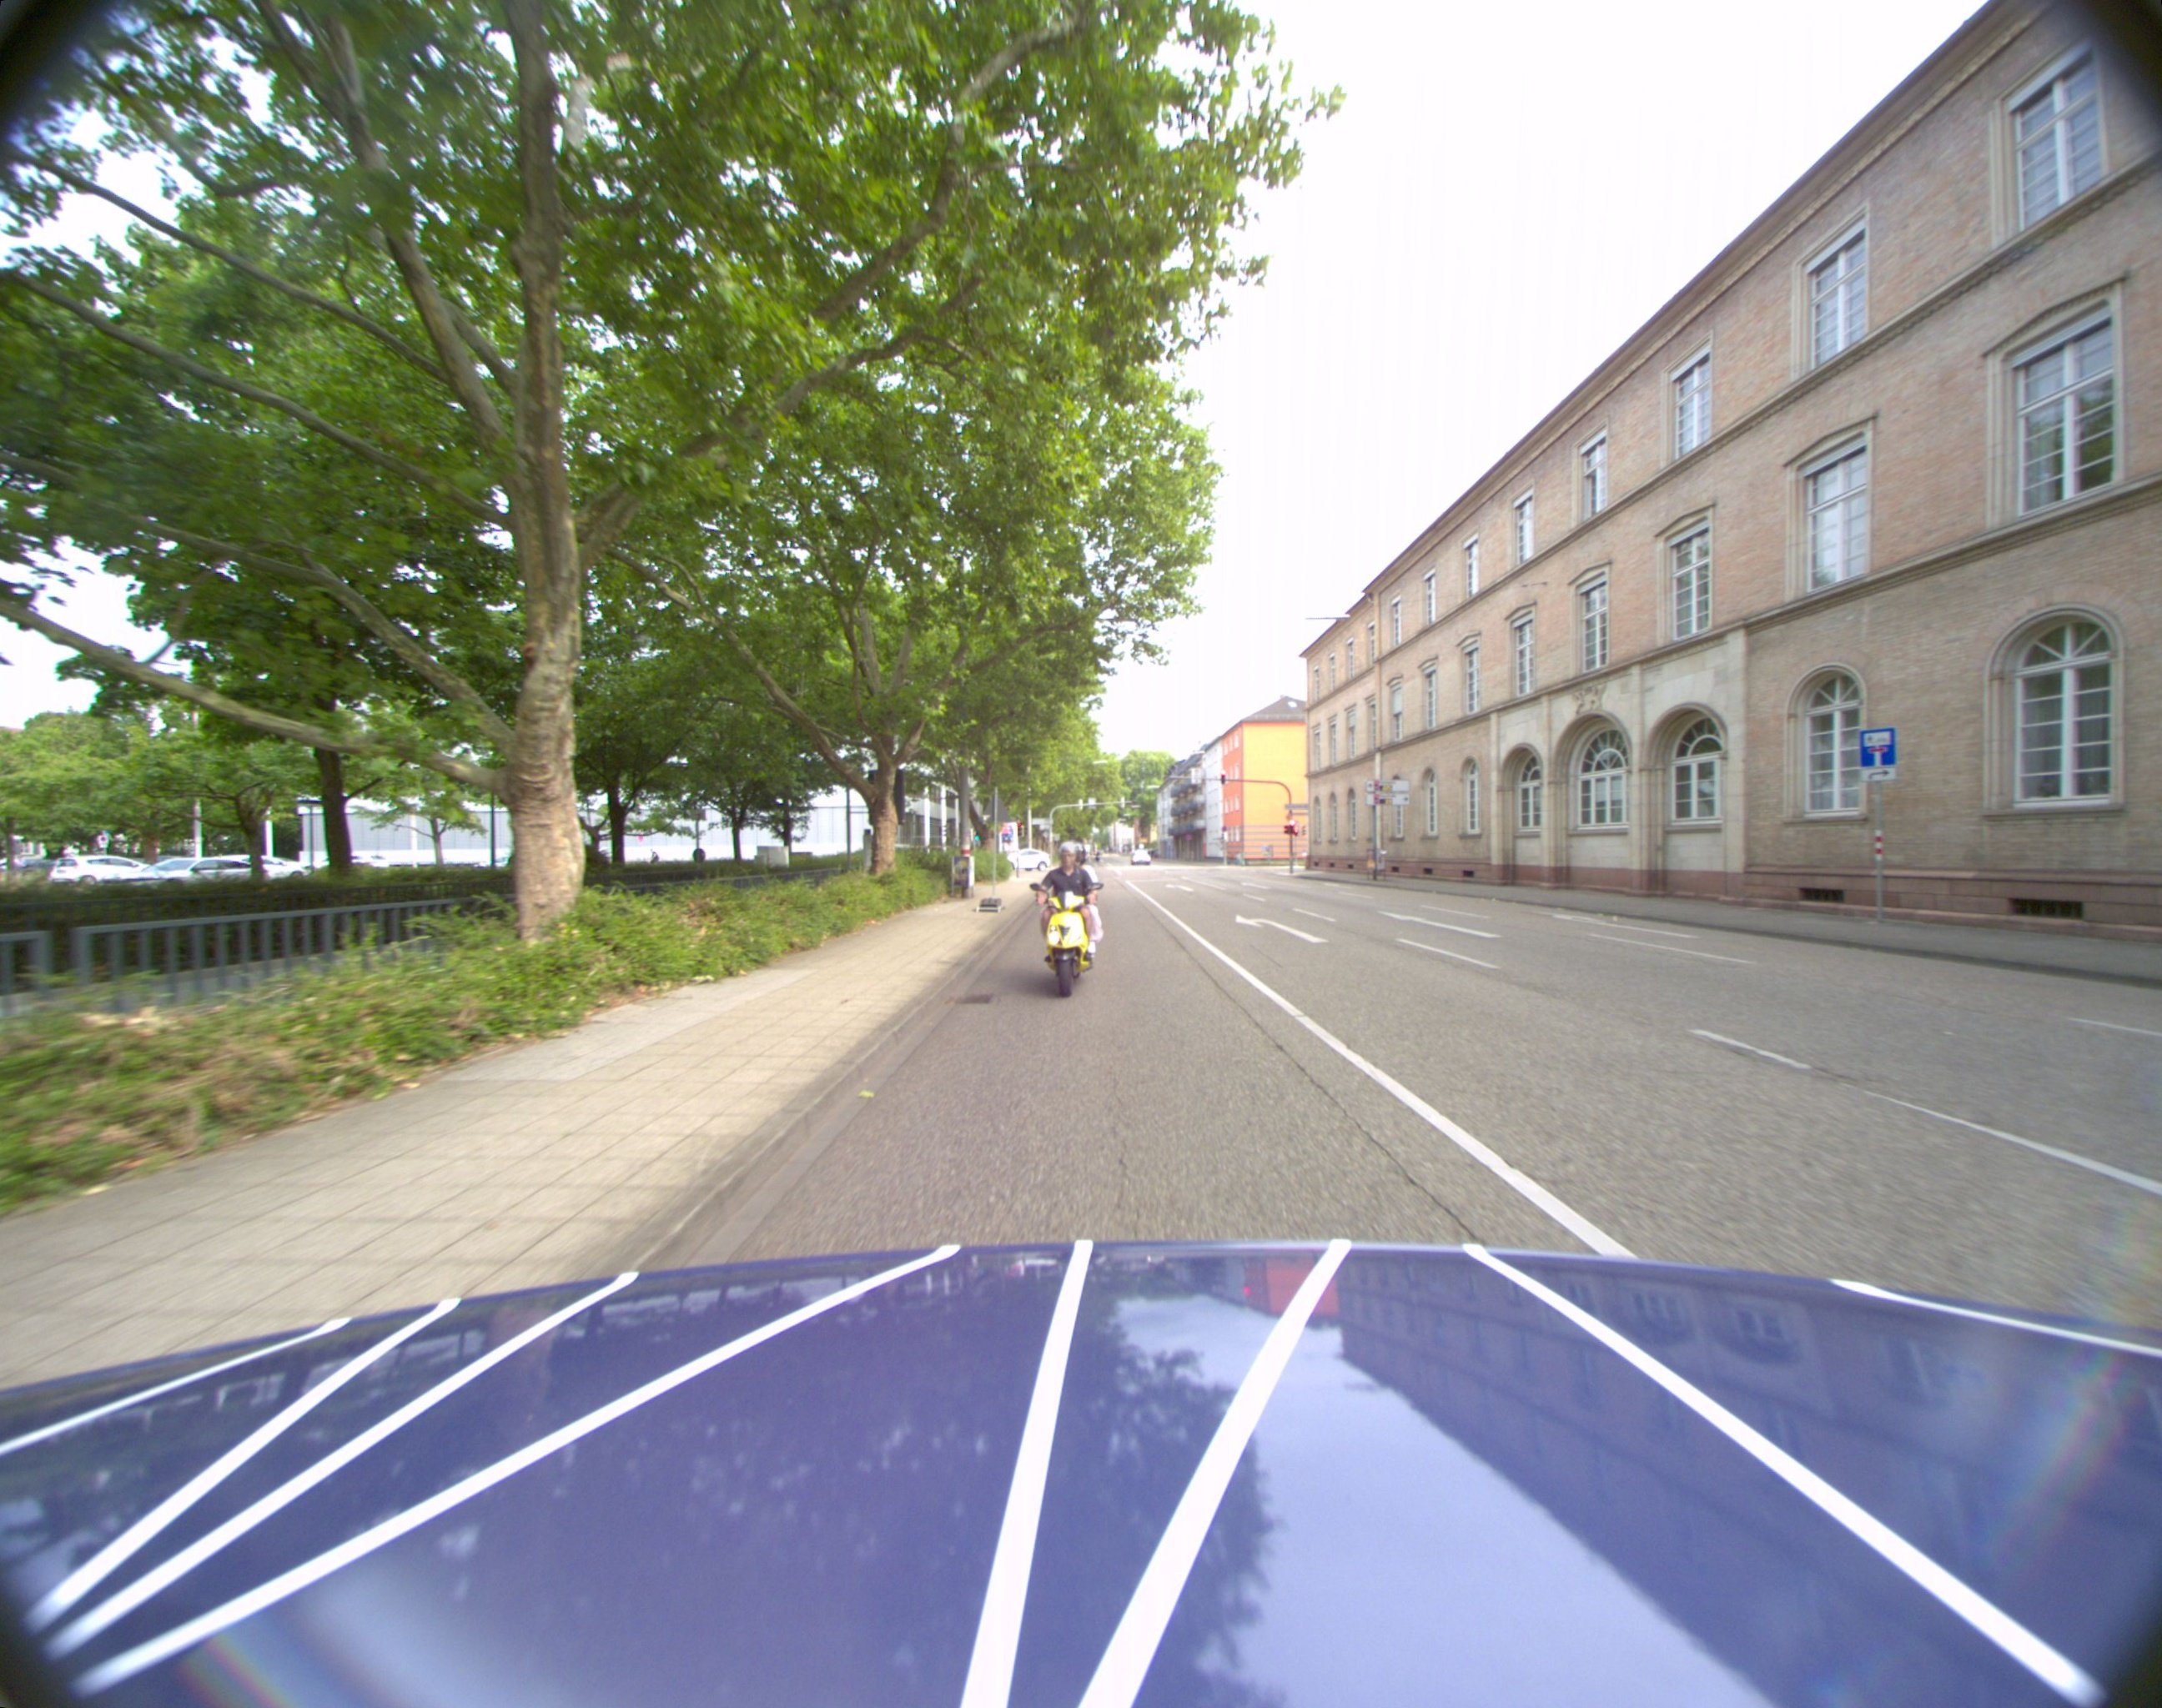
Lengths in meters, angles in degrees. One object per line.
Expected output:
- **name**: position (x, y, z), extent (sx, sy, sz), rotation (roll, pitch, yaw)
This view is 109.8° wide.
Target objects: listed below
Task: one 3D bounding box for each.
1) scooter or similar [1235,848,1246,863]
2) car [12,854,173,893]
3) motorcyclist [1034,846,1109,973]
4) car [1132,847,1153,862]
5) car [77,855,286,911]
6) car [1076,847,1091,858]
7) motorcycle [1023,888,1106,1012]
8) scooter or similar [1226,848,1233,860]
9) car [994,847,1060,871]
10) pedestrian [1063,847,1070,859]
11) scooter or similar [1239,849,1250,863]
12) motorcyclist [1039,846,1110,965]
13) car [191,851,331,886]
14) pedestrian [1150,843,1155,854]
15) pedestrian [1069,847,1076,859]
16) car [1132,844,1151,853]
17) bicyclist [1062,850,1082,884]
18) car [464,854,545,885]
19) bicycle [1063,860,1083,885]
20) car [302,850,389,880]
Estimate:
- **scooter or similar**: position (13.291, 0.115, 63.492), extent (0.330, 1.172, 1.341), rotation (-3, 1, -12)
- **car**: position (-50.344, 0.936, 38.885), extent (1.999, 1.784, 4.772), rotation (-3, 0, -2)
- **motorcyclist**: position (-0.095, 0.631, 9.007), extent (0.781, 1.419, 0.764), rotation (-3, 1, 3)
- **car**: position (6.065, 0.068, 75.236), extent (1.673, 1.430, 3.820), rotation (-1, 0, 0)
- **car**: position (-32.678, 0.980, 27.893), extent (1.999, 1.784, 4.772), rotation (-3, 0, -2)
- **car**: position (0.356, -0.198, 112.728), extent (1.998, 1.532, 4.272), rotation (-3, 0, 3)
- **motorcycle**: position (-0.136, 1.055, 8.964), extent (0.781, 1.171, 1.993), rotation (-3, 0, 3)
- **scooter or similar**: position (13.668, -0.008, 70.107), extent (0.369, 1.118, 1.354), rotation (-3, 1, 1)
- **car**: position (-3.991, 0.337, 56.604), extent (4.529, 1.543, 1.995), rotation (-3, 1, -40)
- **pedestrian**: position (-2.441, -0.135, 128.484), extent (1.003, 2.002, 0.997), rotation (-2, 1, 2)
- **scooter or similar**: position (13.712, 0.131, 63.586), extent (0.330, 1.151, 1.352), rotation (-3, 1, -12)
- **motorcyclist**: position (-0.067, 0.631, 9.604), extent (0.781, 1.419, 0.689), rotation (-3, 1, 3)
- **car**: position (-42.708, 0.698, 39.778), extent (1.998, 1.621, 4.773), rotation (-3, 0, 2)
- **pedestrian**: position (13.109, -0.946, 139.161), extent (0.842, 2.002, 0.875), rotation (-2, 1, 5)
- **pedestrian**: position (-1.411, -0.195, 128.438), extent (1.003, 2.002, 0.997), rotation (-2, 1, 2)
- **car**: position (13.641, -1.233, 172.219), extent (3.997, 2.002, 2.000), rotation (-3, 1, 0)
- **bicyclist**: position (-0.391, 0.542, 33.375), extent (0.784, 1.438, 0.914), rotation (-3, 1, -2)
- **car**: position (-41.004, 1.080, 54.139), extent (4.000, 2.002, 1.998), rotation (-3, 1, -8)
- **bicycle**: position (-0.373, 0.793, 33.401), extent (0.771, 1.009, 2.407), rotation (-3, 1, -1)
- **car**: position (-51.341, 0.764, 53.089), extent (3.879, 1.850, 1.952), rotation (-3, 1, -8)
